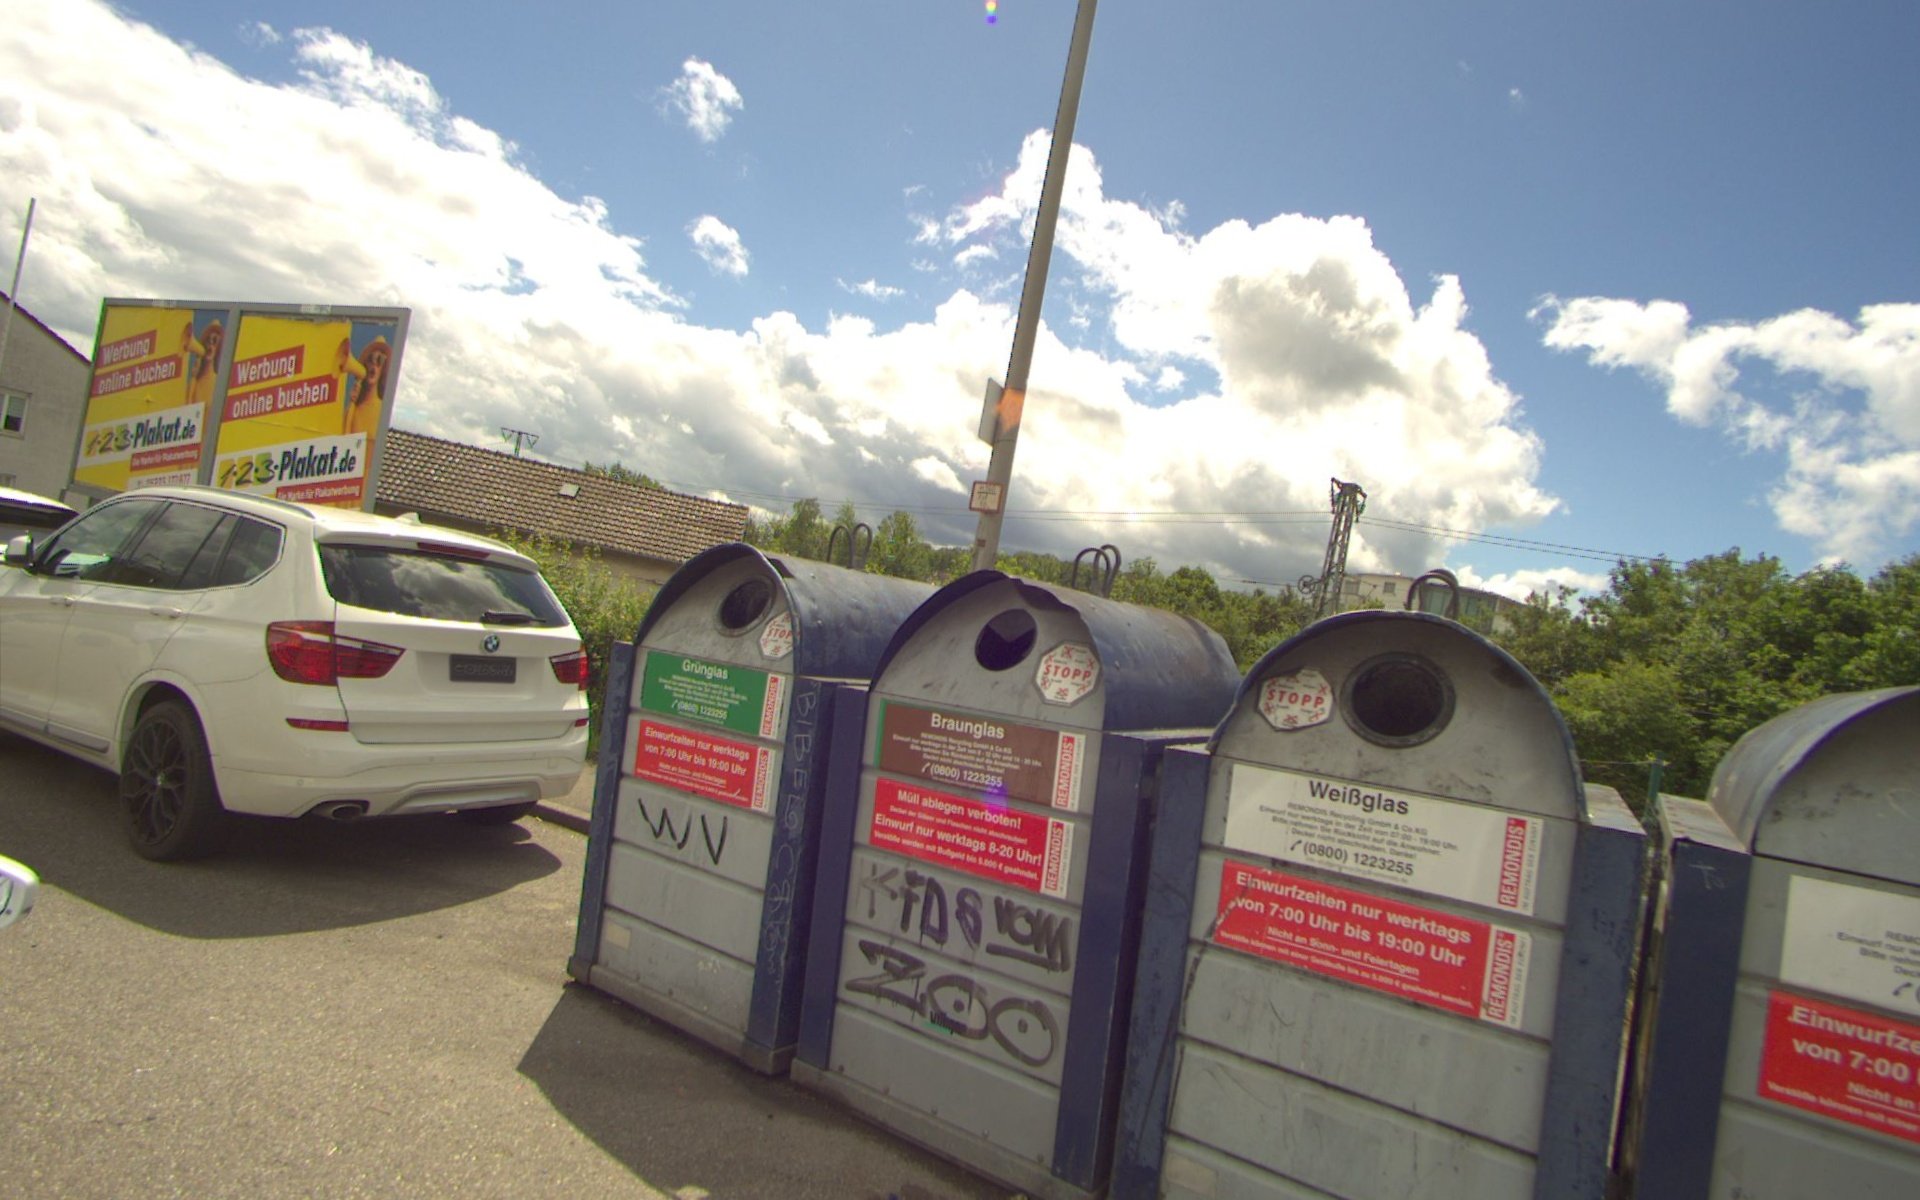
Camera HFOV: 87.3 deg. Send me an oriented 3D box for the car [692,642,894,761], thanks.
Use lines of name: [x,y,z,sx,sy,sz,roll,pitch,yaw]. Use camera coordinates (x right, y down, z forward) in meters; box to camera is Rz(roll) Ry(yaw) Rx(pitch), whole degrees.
car: [-3.591,2.045,20.960,1.744,1.705,4.622,8,-1,-43]

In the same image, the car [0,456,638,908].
car: [-4.160,0.232,5.751,4.403,1.678,1.690,7,-2,29]

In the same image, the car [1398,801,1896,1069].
car: [7.239,3.372,10.931,1.691,1.462,4.103,11,-4,-43]

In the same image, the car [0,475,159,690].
car: [-9.023,-0.348,8.578,4.390,1.584,1.846,7,-1,30]

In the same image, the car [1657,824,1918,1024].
car: [10.688,3.914,12.861,4.437,1.572,1.976,11,-3,-44]
